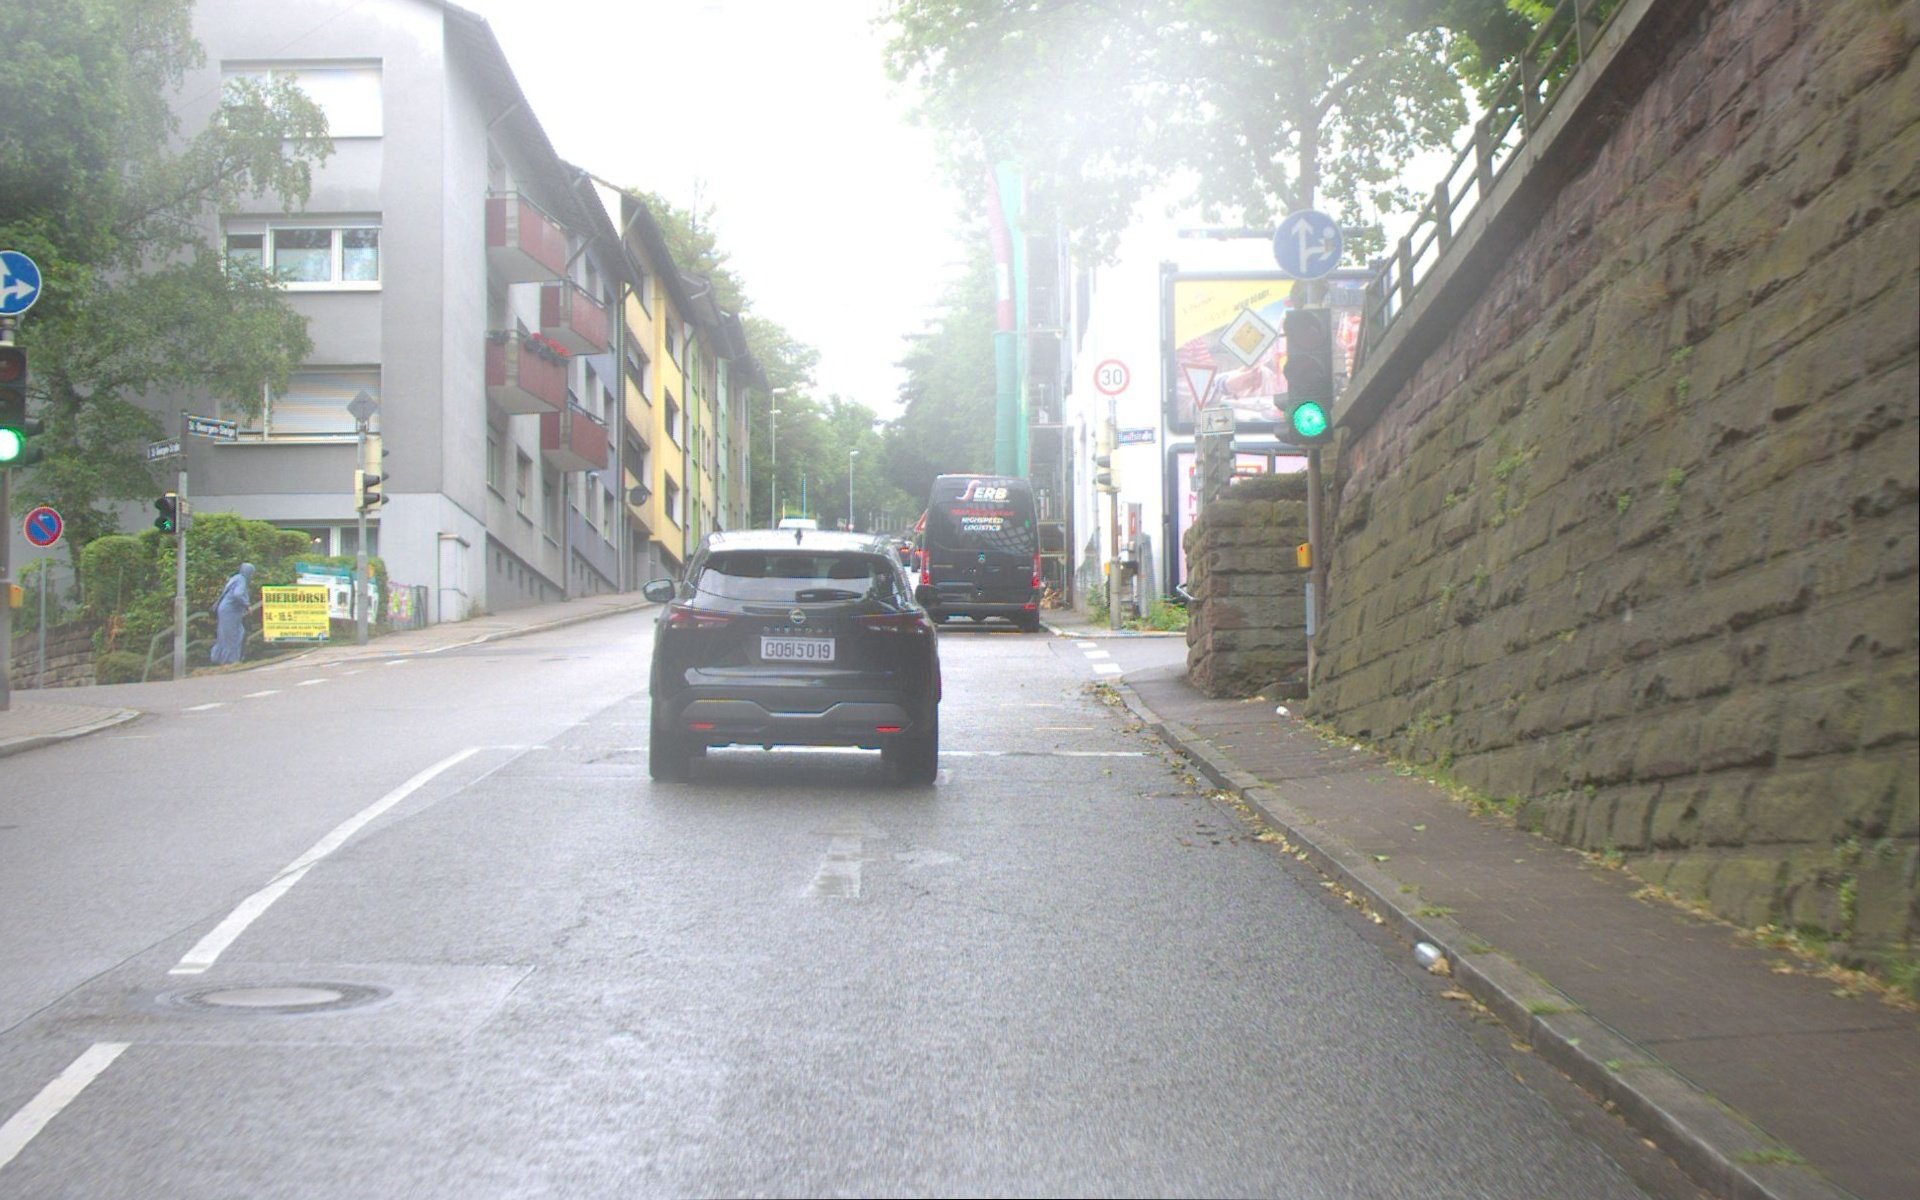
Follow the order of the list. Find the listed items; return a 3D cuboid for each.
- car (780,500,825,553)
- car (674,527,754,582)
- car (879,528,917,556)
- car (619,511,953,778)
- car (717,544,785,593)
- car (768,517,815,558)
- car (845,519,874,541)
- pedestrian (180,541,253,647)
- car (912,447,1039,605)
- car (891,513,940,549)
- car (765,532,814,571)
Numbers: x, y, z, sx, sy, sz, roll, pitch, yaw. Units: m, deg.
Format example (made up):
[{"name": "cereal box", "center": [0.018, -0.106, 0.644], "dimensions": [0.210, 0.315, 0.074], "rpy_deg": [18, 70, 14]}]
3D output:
[{"name": "car", "center": [-7.376, -3.458, 161.234], "dimensions": [1.990, 2.466, 5.785], "rpy_deg": [0, 1, -2]}, {"name": "car", "center": [-7.542, -1.415, 105.592], "dimensions": [1.993, 1.644, 4.441], "rpy_deg": [0, 1, 2]}, {"name": "car", "center": [-3.485, -3.251, 191.794], "dimensions": [2.074, 1.554, 4.001], "rpy_deg": [0, 1, -2]}, {"name": "car", "center": [-1.078, 0.219, 22.871], "dimensions": [1.993, 1.554, 4.001], "rpy_deg": [1, 2, -1]}, {"name": "car", "center": [-7.392, -1.146, 121.963], "dimensions": [1.993, 1.644, 4.441], "rpy_deg": [0, 1, 2]}, {"name": "car", "center": [-7.418, -2.756, 151.456], "dimensions": [1.990, 1.749, 4.480], "rpy_deg": [0, 1, -2]}, {"name": "car", "center": [-7.217, -5.015, 247.476], "dimensions": [2.074, 1.554, 4.001], "rpy_deg": [0, 1, -2]}, {"name": "pedestrian", "center": [-11.062, -0.076, 51.160], "dimensions": [0.869, 1.536, 1.087], "rpy_deg": [1, -1, -4]}, {"name": "car", "center": [0.268, -1.182, 58.216], "dimensions": [1.993, 2.406, 5.836], "rpy_deg": [1, -1, 0]}, {"name": "car", "center": [-1.970, -3.067, 152.553], "dimensions": [2.074, 1.554, 4.001], "rpy_deg": [0, 1, -2]}, {"name": "car", "center": [-7.190, -2.052, 145.102], "dimensions": [1.990, 1.579, 4.306], "rpy_deg": [0, 1, -2]}]
